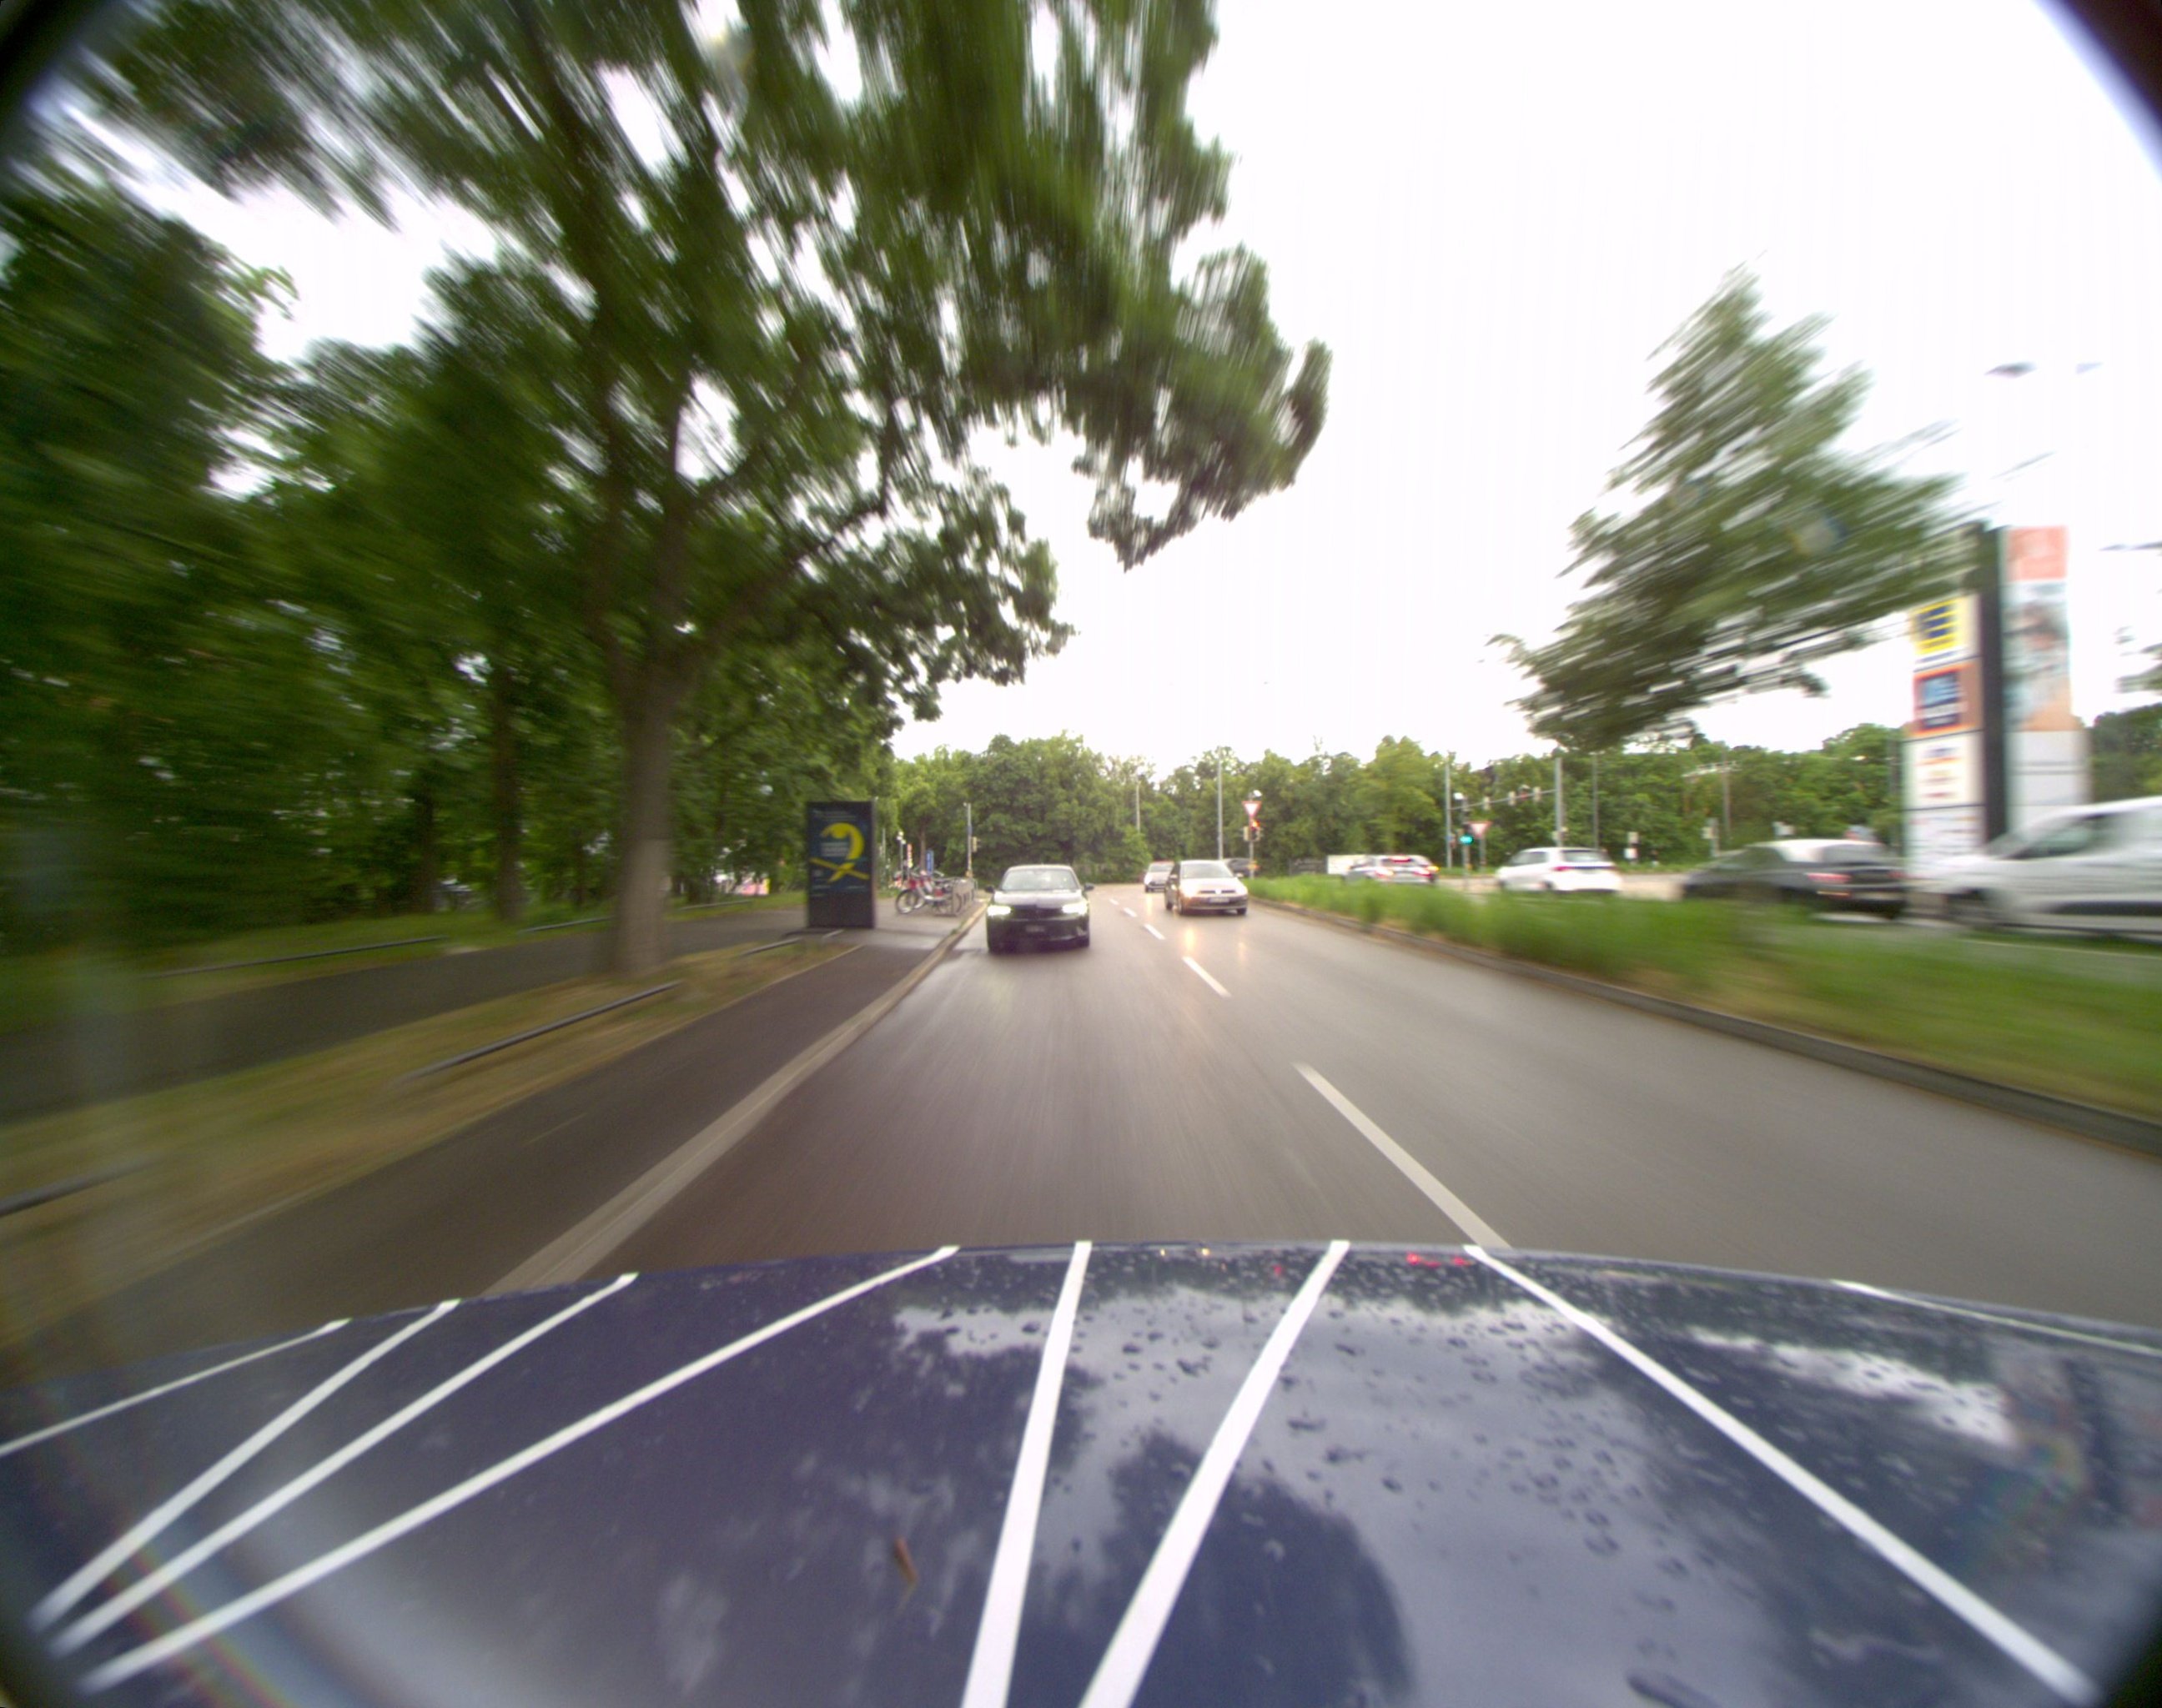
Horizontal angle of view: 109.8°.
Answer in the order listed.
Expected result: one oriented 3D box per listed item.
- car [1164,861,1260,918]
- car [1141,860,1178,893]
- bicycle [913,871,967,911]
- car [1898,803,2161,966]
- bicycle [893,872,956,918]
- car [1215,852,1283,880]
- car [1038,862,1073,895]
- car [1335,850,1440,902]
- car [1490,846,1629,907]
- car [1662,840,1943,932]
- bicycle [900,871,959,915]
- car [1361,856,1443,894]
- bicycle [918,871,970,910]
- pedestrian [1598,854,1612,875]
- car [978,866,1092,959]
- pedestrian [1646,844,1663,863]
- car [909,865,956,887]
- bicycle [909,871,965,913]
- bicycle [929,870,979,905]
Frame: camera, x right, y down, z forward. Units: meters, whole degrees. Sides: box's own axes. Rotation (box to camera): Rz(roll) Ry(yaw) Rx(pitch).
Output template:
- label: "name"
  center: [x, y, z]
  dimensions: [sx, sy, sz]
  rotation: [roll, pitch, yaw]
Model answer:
- label: "car"
  center: [3.510, 0.944, 21.093]
  dimensions: [1.905, 1.431, 4.001]
  rotation: [0, -1, -1]
- label: "car"
  center: [3.874, 1.082, 37.630]
  dimensions: [1.669, 1.520, 3.659]
  rotation: [-2, -1, 6]
- label: "bicycle"
  center: [-4.171, 1.101, 22.536]
  dimensions: [1.490, 1.125, 0.556]
  rotation: [2, 0, -5]
- label: "car"
  center: [12.823, 0.305, 8.691]
  dimensions: [1.848, 1.791, 4.774]
  rotation: [-2, -1, 2]
- label: "bicycle"
  center: [-4.029, 1.048, 19.641]
  dimensions: [1.490, 1.125, 0.556]
  rotation: [2, 0, -5]
- label: "car"
  center: [11.243, 0.799, 50.819]
  dimensions: [4.004, 1.761, 1.904]
  rotation: [-1, -1, -20]
- label: "car"
  center: [-1.333, 1.206, 38.298]
  dimensions: [1.645, 1.511, 3.579]
  rotation: [-2, -1, -4]
- label: "car"
  center: [10.301, 0.757, 25.859]
  dimensions: [1.853, 1.565, 4.166]
  rotation: [-2, -2, 0]
- label: "car"
  center: [13.323, 0.648, 21.435]
  dimensions: [1.654, 1.566, 3.703]
  rotation: [0, -2, 2]
- label: "car"
  center: [12.915, 0.564, 13.978]
  dimensions: [1.718, 1.451, 3.752]
  rotation: [0, -2, 4]
- label: "bicycle"
  center: [-4.105, 1.050, 20.613]
  dimensions: [1.490, 1.125, 0.556]
  rotation: [2, 0, -5]
- label: "car"
  center: [13.720, 0.907, 32.748]
  dimensions: [1.830, 1.510, 4.065]
  rotation: [0, -2, 0]
- label: "bicycle"
  center: [-4.181, 1.106, 23.289]
  dimensions: [1.490, 1.125, 0.556]
  rotation: [2, 0, -5]
- label: "pedestrian"
  center: [46.301, 0.947, 67.162]
  dimensions: [0.699, 1.872, 0.678]
  rotation: [-2, -1, 0]
- label: "car"
  center: [-0.733, 0.980, 14.611]
  dimensions: [1.804, 1.422, 4.520]
  rotation: [-2, -1, 0]
- label: "pedestrian"
  center: [51.317, -0.027, 68.017]
  dimensions: [0.831, 1.665, 0.822]
  rotation: [-2, -1, 0]
- label: "car"
  center: [-14.480, 2.170, 74.150]
  dimensions: [4.008, 2.001, 1.995]
  rotation: [-1, -1, -45]
- label: "bicycle"
  center: [-4.123, 1.083, 21.768]
  dimensions: [1.490, 1.125, 0.556]
  rotation: [2, 0, -5]
- label: "bicycle"
  center: [-4.339, 1.138, 26.019]
  dimensions: [1.600, 1.125, 0.556]
  rotation: [2, 0, -5]
